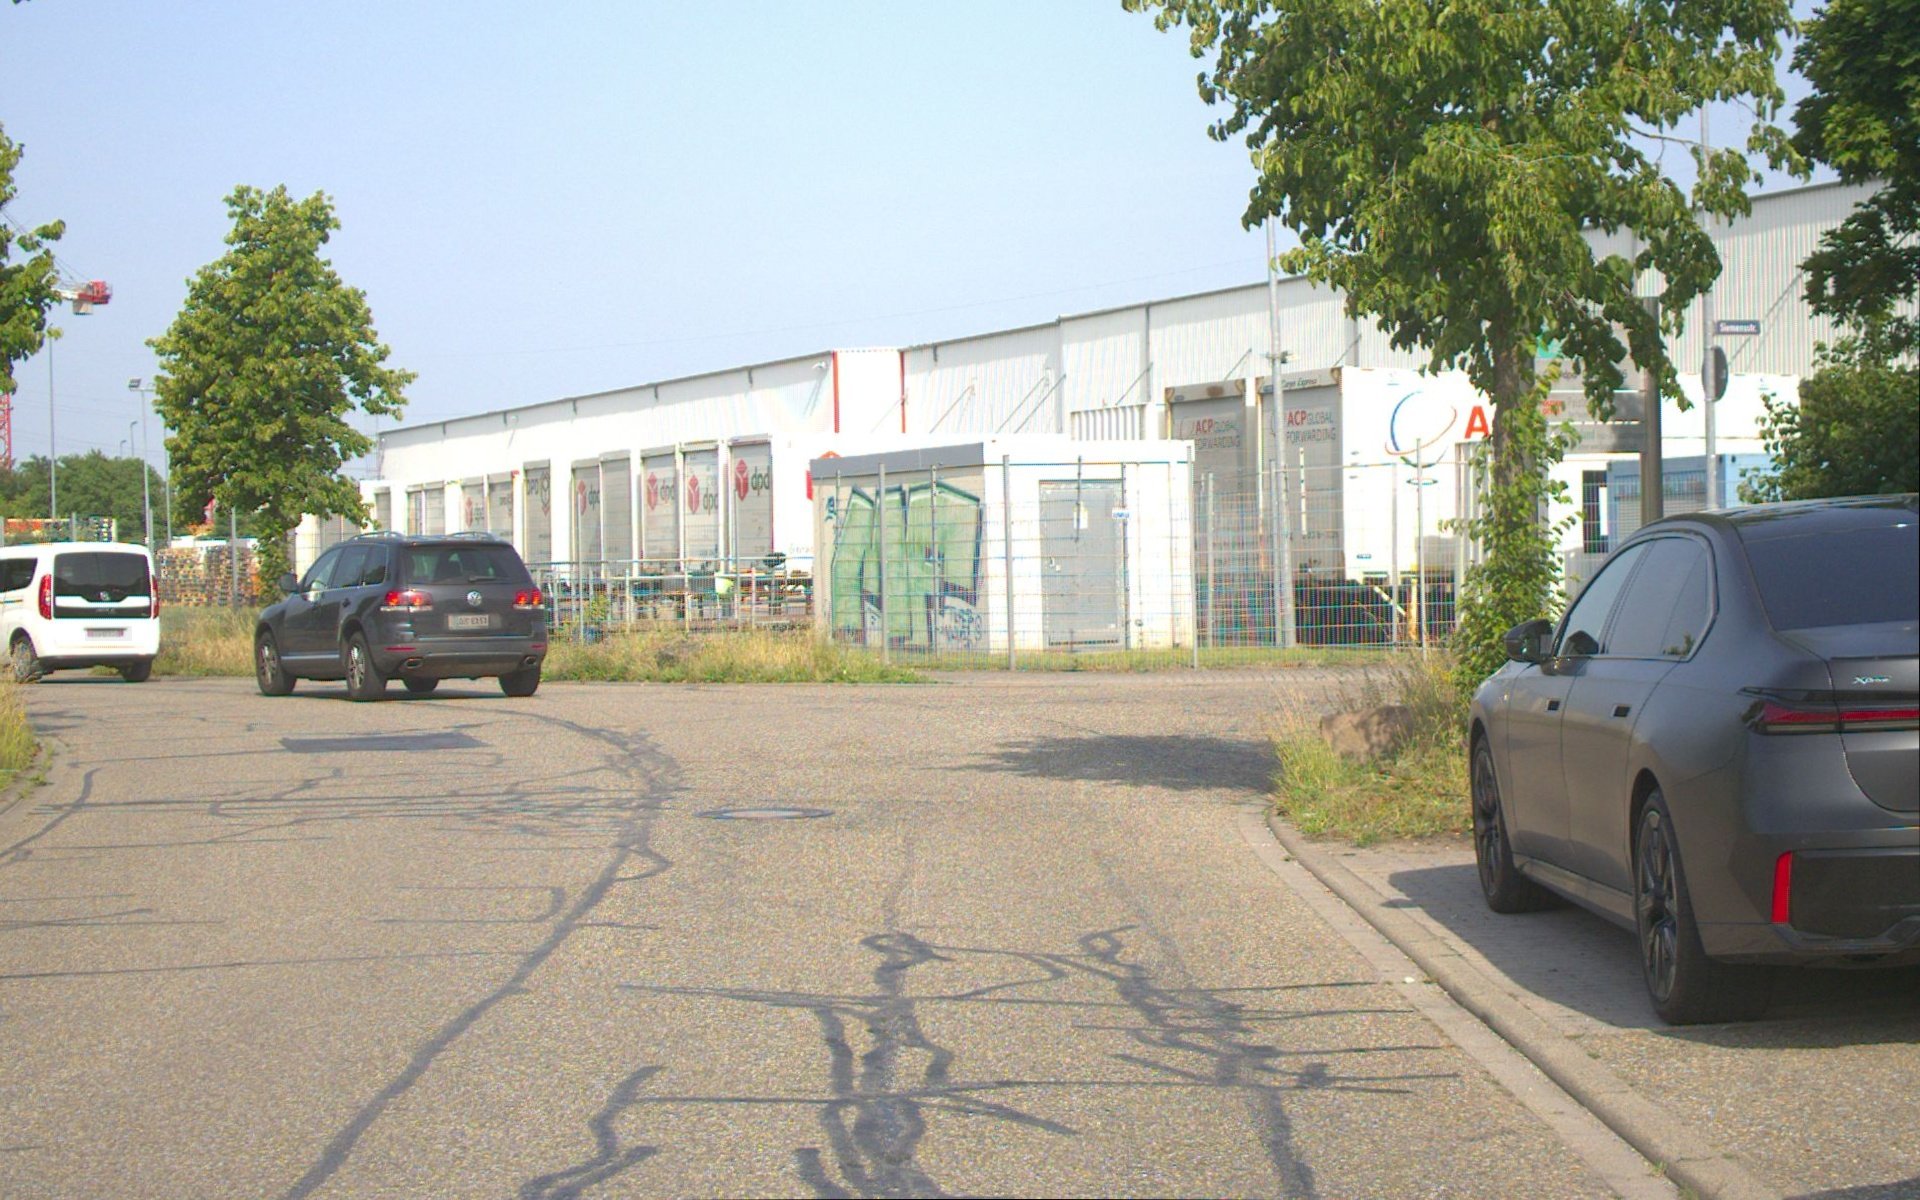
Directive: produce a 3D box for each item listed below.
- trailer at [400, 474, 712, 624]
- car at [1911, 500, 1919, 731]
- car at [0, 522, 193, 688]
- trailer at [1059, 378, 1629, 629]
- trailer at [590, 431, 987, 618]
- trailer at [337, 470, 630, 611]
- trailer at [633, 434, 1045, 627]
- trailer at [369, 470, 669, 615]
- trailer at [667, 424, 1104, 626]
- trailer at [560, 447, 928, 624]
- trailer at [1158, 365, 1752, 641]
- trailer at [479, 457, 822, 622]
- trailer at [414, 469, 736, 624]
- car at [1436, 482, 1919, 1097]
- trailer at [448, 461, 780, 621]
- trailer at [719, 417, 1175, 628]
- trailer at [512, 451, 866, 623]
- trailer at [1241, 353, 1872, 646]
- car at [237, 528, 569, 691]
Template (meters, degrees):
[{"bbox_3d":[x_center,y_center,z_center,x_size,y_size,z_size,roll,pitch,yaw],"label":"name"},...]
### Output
[{"bbox_3d":[-11.077,-1.376,94.448,7.960,3.880,2.776,1,1,-24],"label":"trailer"},{"bbox_3d":[2.852,0.566,4.674,1.880,1.568,4.113,-2,0,-1],"label":"car"},{"bbox_3d":[-12.416,0.062,46.207,2.122,2.103,4.622,-1,0,-41],"label":"car"},{"bbox_3d":[6.122,-1.462,54.413,8.730,3.748,2.791,0,0,-24],"label":"trailer"},{"bbox_3d":[-3.795,-1.635,76.482,8.305,3.880,2.776,1,1,-24],"label":"trailer"},{"bbox_3d":[-13.936,-1.705,100.586,7.960,3.880,2.776,1,1,-24],"label":"trailer"},{"bbox_3d":[-2.576,-1.444,73.673,8.305,3.880,2.776,1,1,-24],"label":"trailer"},{"bbox_3d":[-12.546,-1.615,97.944,7.960,3.880,2.776,1,1,-24],"label":"trailer"},{"bbox_3d":[-1.507,-1.491,70.860,8.534,3.880,2.776,1,1,-24],"label":"trailer"},{"bbox_3d":[-5.018,-1.477,80.274,8.031,3.880,2.776,1,1,-24],"label":"trailer"},{"bbox_3d":[7.471,-1.490,51.684,8.534,3.880,2.776,-2,1,-22],"label":"trailer"},{"bbox_3d":[-7.687,-1.477,85.659,7.960,3.880,2.776,1,1,-24],"label":"trailer"},{"bbox_3d":[-10.219,-1.383,91.314,7.960,3.880,2.776,1,1,-24],"label":"trailer"},{"bbox_3d":[2.927,0.441,11.457,1.880,1.568,5.118,-3,0,0],"label":"car"},{"bbox_3d":[-8.885,-1.495,88.521,7.960,3.880,2.776,1,1,-24],"label":"trailer"},{"bbox_3d":[-0.234,-1.470,67.937,8.534,3.880,2.776,1,1,-24],"label":"trailer"},{"bbox_3d":[-6.525,-1.481,82.870,7.960,3.880,2.776,1,1,-24],"label":"trailer"},{"bbox_3d":[8.506,-1.389,48.888,8.534,3.881,2.776,-1,-2,-22],"label":"trailer"},{"bbox_3d":[-5.854,0.090,35.768,1.881,1.581,4.113,-1,0,-33],"label":"car"}]
